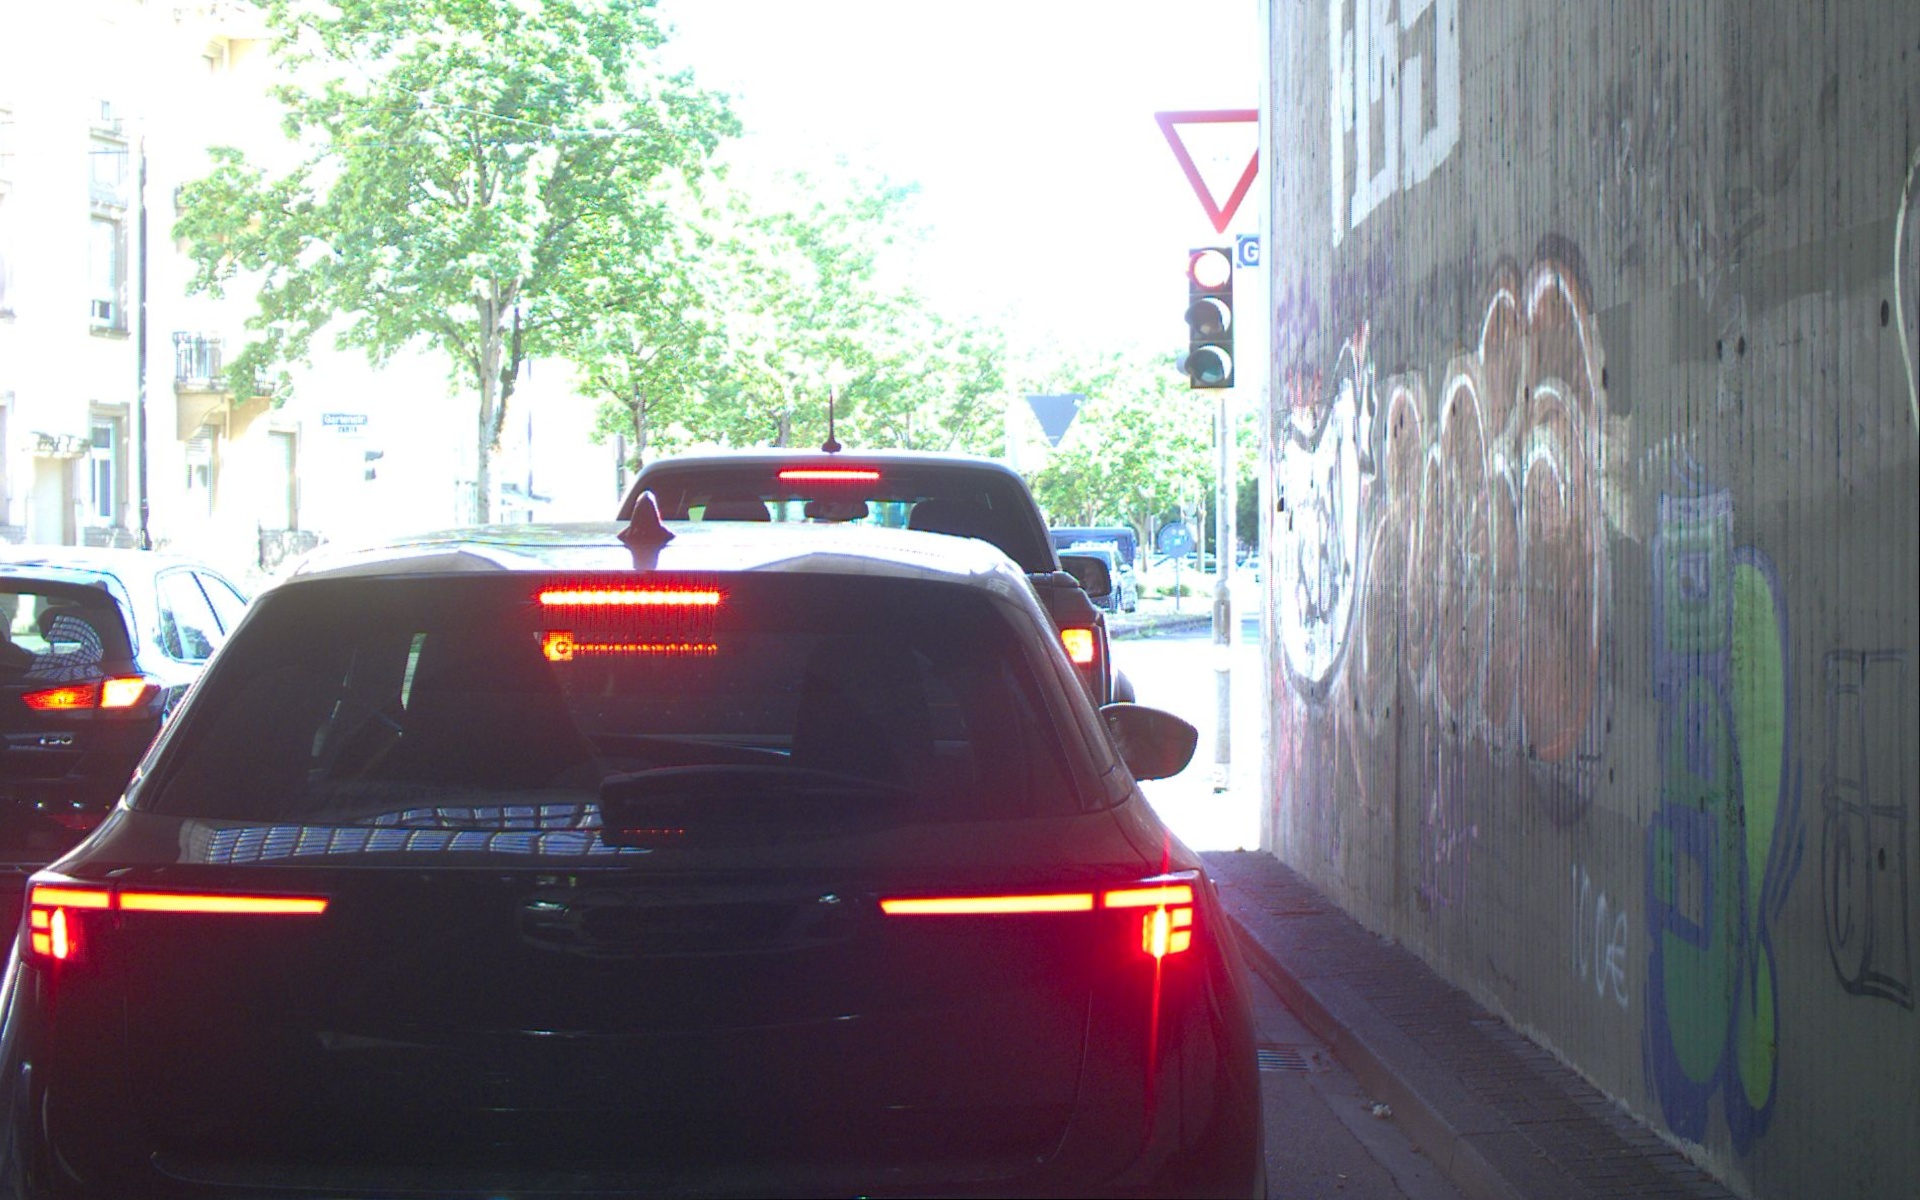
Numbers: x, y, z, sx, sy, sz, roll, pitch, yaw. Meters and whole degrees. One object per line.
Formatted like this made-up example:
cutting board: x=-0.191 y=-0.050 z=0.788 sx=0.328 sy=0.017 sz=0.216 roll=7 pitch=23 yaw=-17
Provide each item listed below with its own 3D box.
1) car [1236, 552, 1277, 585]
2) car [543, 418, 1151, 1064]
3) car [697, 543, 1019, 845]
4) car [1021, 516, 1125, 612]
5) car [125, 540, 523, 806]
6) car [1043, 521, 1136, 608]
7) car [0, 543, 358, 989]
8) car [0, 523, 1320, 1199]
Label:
car: x=15.474 y=-1.634 z=179.301 sx=1.754 sy=1.661 sz=3.943 roll=1 pitch=1 yaw=11
car: x=-0.351 y=0.378 z=12.061 sx=1.762 sy=1.876 sz=4.146 roll=0 pitch=1 yaw=-1
car: x=-0.536 y=0.439 z=19.281 sx=1.609 sy=1.508 sz=4.054 roll=0 pitch=1 yaw=-1
car: x=2.076 y=-0.650 z=62.216 sx=1.754 sy=1.661 sz=3.944 roll=1 pitch=1 yaw=3
car: x=-3.778 y=0.373 z=21.032 sx=1.762 sy=1.475 sz=3.844 roll=0 pitch=1 yaw=-1
car: x=2.597 y=-0.704 z=68.335 sx=1.754 sy=1.661 sz=3.944 roll=1 pitch=1 yaw=3
car: x=-3.528 y=0.520 z=13.309 sx=1.762 sy=1.475 sz=3.844 roll=0 pitch=1 yaw=-1
car: x=-0.479 y=0.640 z=6.120 sx=1.762 sy=1.526 sz=4.089 roll=0 pitch=1 yaw=-1
